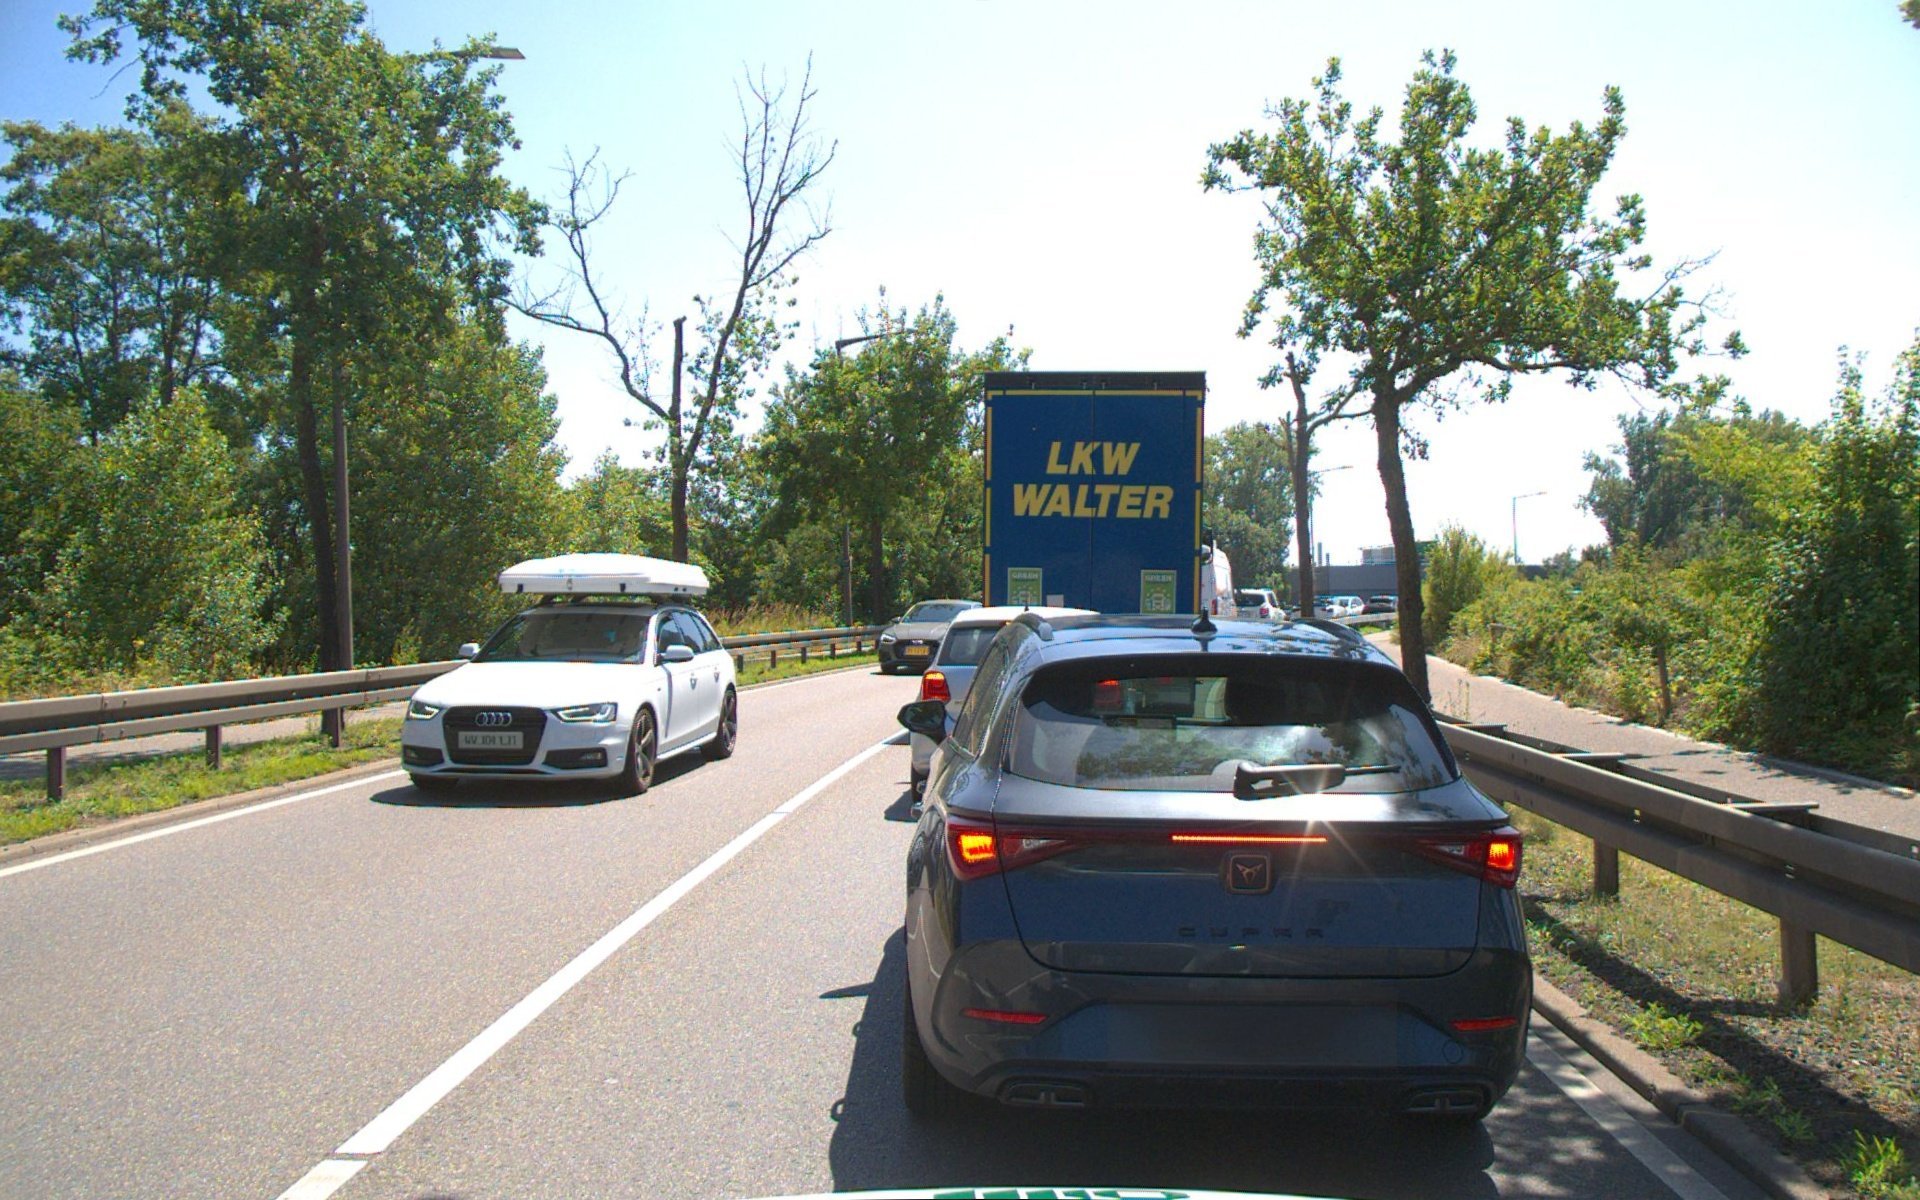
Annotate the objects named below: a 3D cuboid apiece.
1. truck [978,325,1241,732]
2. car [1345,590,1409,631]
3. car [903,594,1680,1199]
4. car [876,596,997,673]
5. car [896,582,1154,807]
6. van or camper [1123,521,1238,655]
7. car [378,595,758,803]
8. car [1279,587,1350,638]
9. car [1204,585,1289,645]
[{"bbox_3d":[2.704,-0.820,26.912,2.887,4.526,16.810,1,0,7],"label":"truck"},{"bbox_3d":[18.824,0.460,74.568,1.954,1.747,4.866,1,0,24],"label":"car"},{"bbox_3d":[0.724,0.726,5.598,1.708,1.457,3.879,1,0,0],"label":"car"},{"bbox_3d":[-0.397,0.640,33.291,1.722,1.420,4.409,1,0,8],"label":"car"},{"bbox_3d":[0.488,0.654,13.508,1.772,1.534,4.000,1,0,1],"label":"car"},{"bbox_3d":[5.583,-0.276,41.144,2.413,3.051,6.091,1,0,11],"label":"van or camper"},{"bbox_3d":[-3.068,0.697,13.992,1.781,1.446,4.469,1,0,5],"label":"car"},{"bbox_3d":[13.743,0.473,63.957,1.953,1.840,4.845,1,0,21],"label":"car"},{"bbox_3d":[8.938,0.456,51.343,1.952,1.742,4.622,1,0,18],"label":"car"}]
